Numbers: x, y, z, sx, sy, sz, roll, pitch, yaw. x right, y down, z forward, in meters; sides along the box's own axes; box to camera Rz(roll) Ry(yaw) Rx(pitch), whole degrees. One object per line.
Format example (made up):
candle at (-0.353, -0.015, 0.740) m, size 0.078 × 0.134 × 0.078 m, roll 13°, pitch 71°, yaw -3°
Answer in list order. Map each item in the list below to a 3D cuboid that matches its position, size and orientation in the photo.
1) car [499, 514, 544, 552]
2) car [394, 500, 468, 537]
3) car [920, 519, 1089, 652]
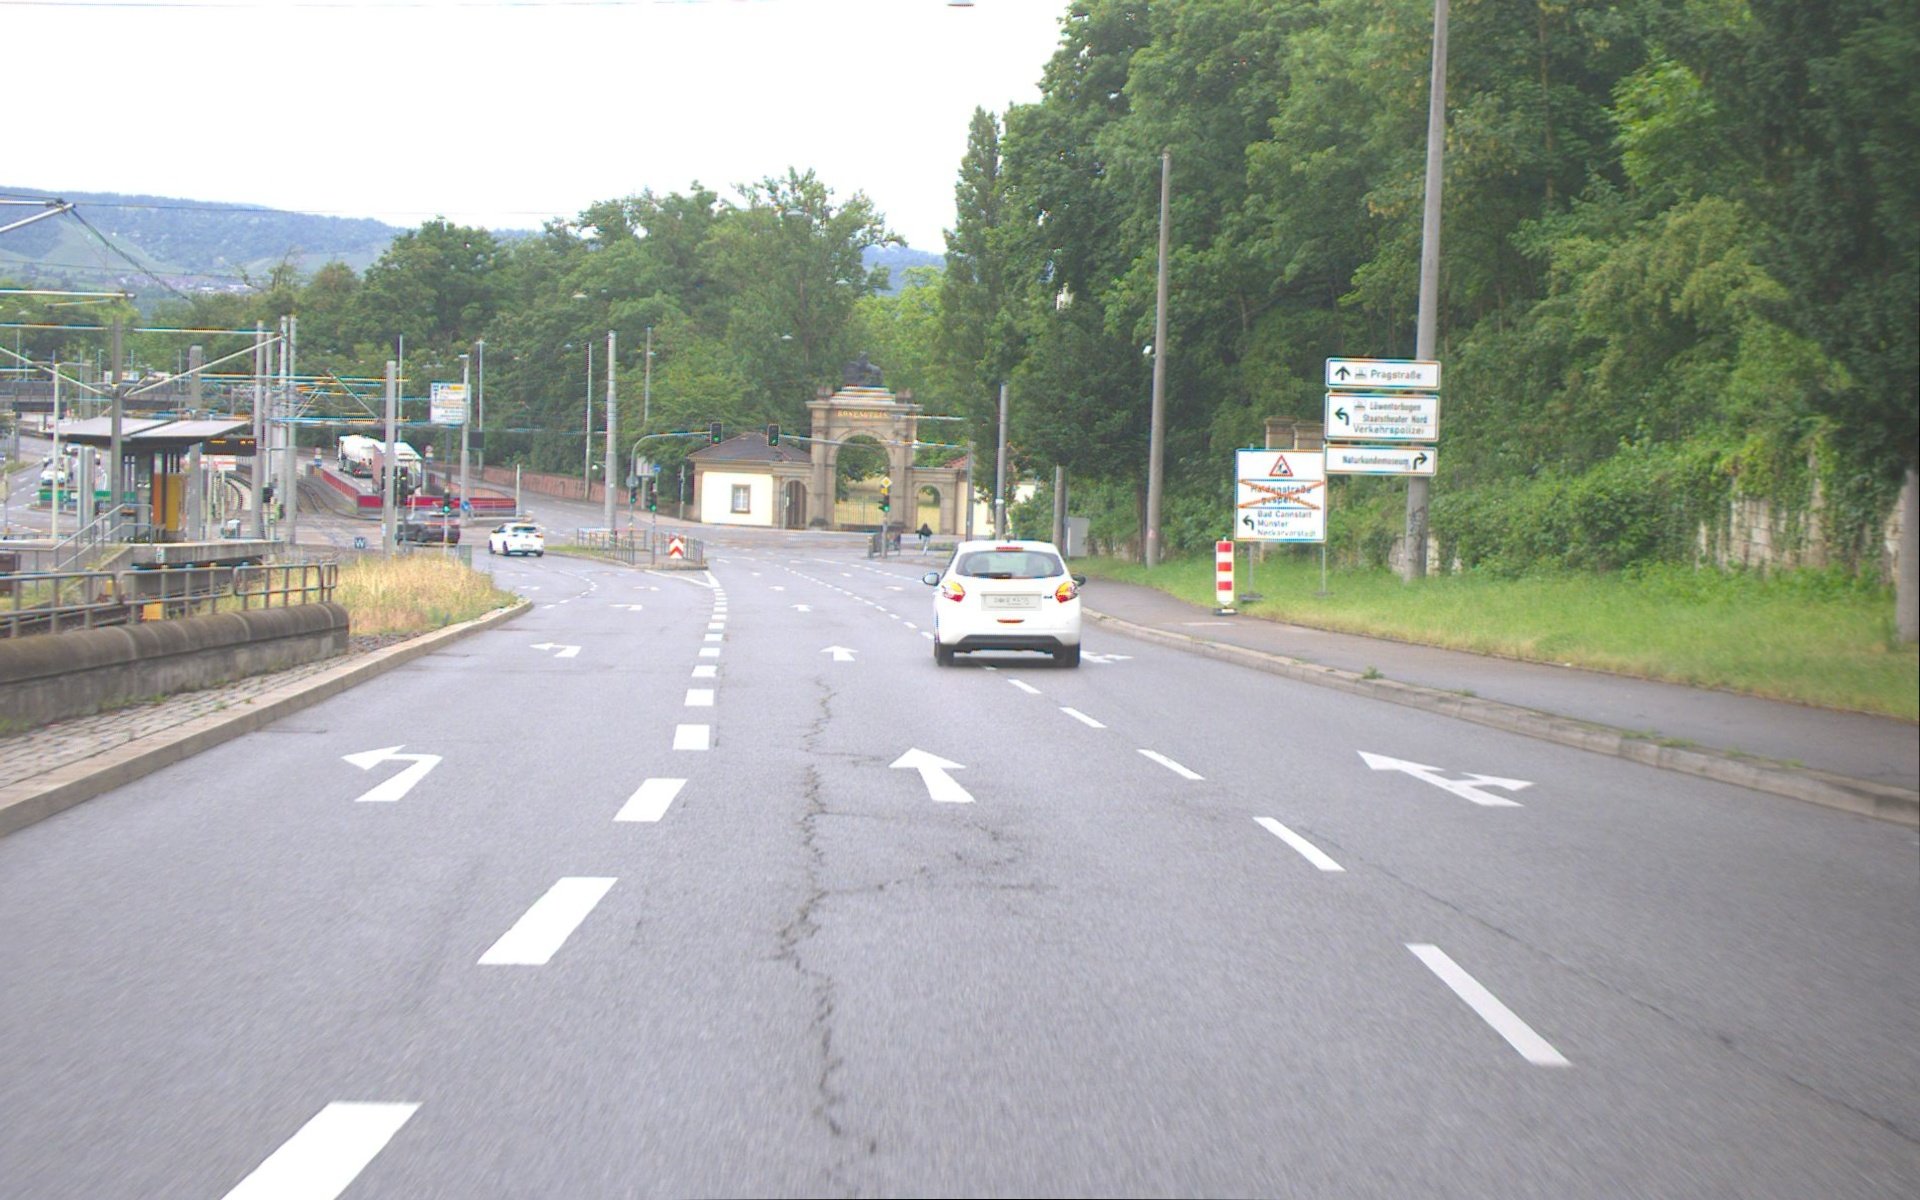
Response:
car at (-19.412, -2.986, 152.095) m, size 1.822 × 1.600 × 4.001 m, roll -1°, pitch 2°, yaw -9°
car at (-25.062, -3.867, 162.824) m, size 1.993 × 1.700 × 4.000 m, roll 0°, pitch 2°, yaw -32°
car at (0.485, -0.196, 41.088) m, size 1.868 × 1.505 × 3.900 m, roll 0°, pitch 1°, yaw -1°
